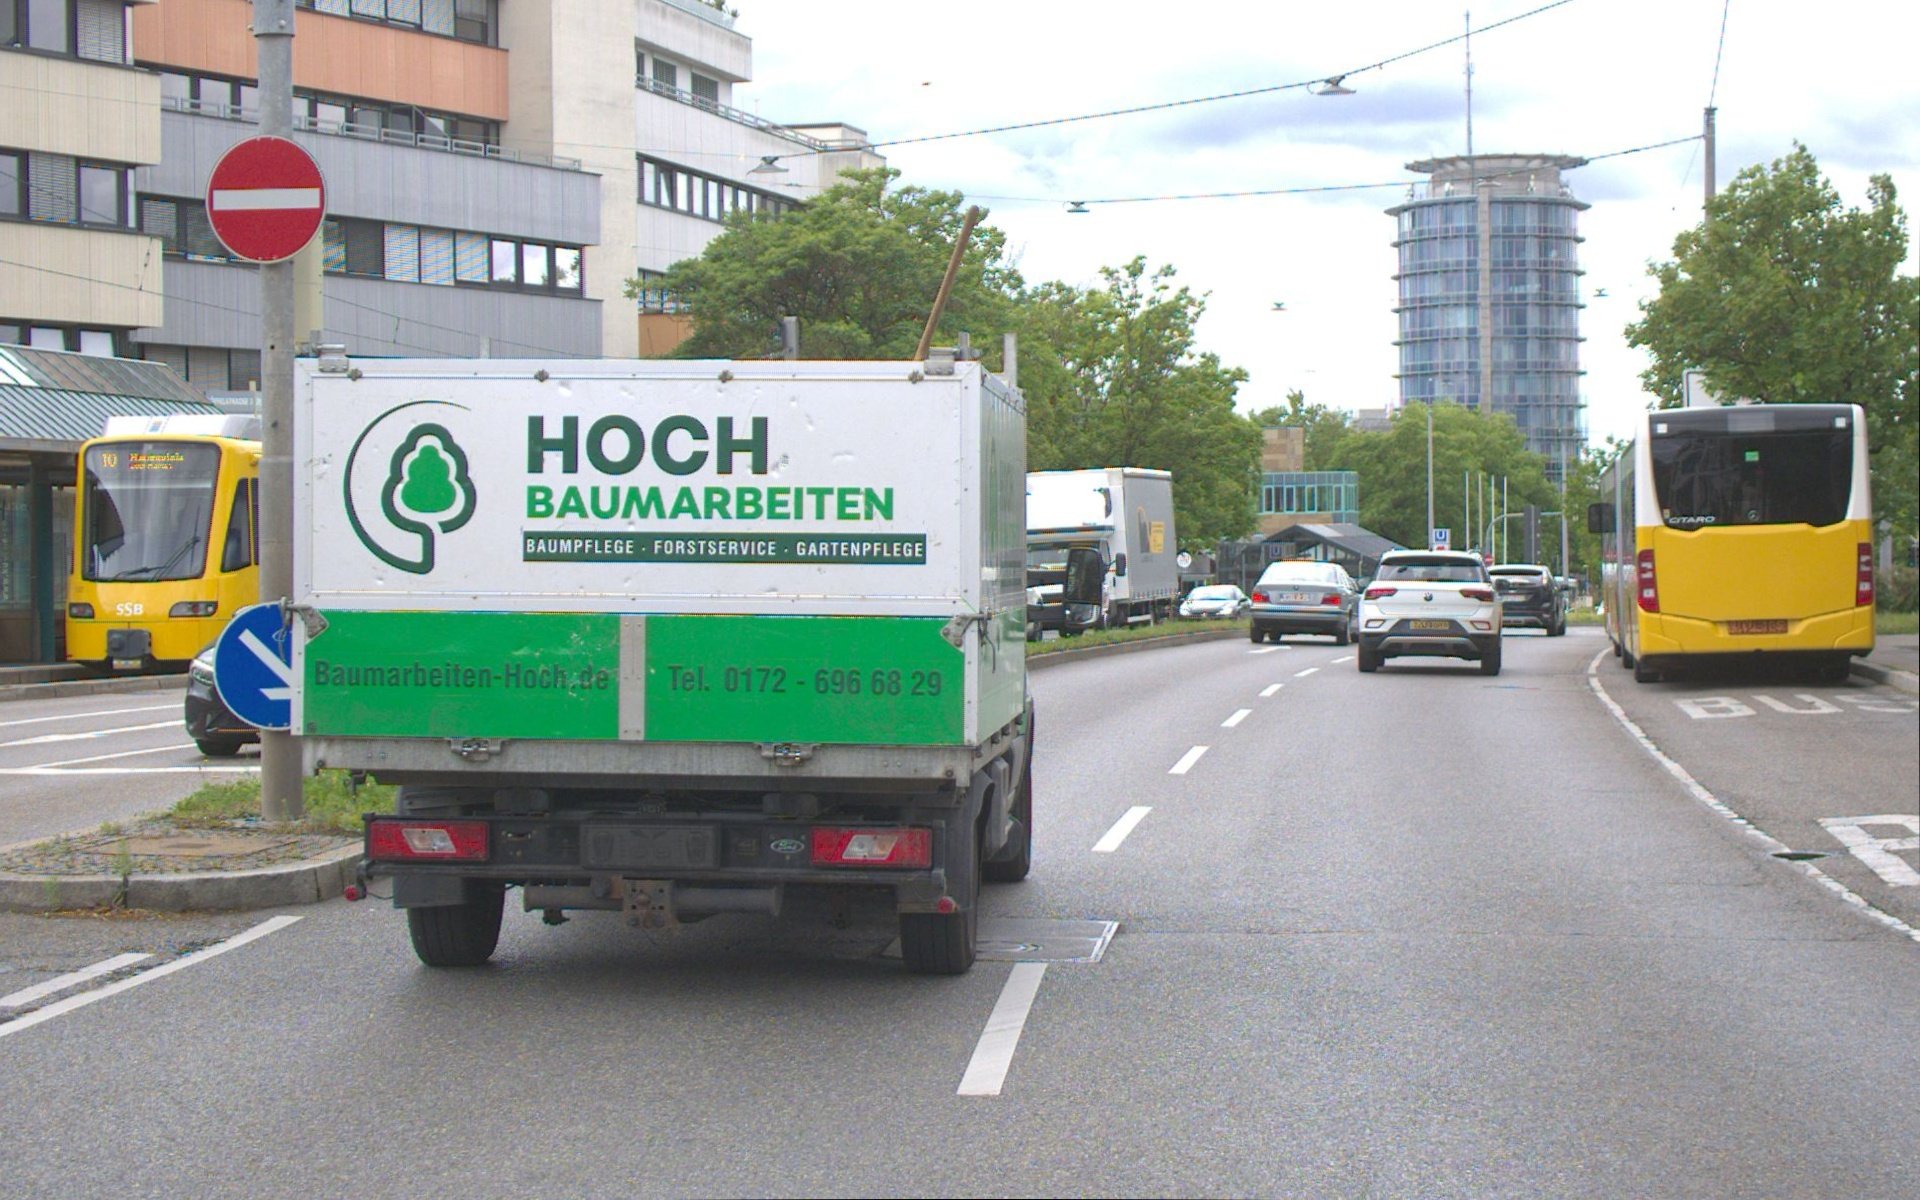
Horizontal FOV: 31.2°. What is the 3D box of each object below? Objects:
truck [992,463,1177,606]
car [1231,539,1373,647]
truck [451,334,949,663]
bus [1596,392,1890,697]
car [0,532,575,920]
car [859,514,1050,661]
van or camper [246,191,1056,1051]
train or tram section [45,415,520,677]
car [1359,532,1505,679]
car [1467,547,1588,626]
[{"bbox_3d":[2.917,-1.470,77.314,3.084,3.018,9.355,0,1,9],"label":"truck"},{"bbox_3d":[5.797,-0.147,57.967,1.701,1.510,3.734,1,5,17],"label":"car"},{"bbox_3d":[-3.293,-1.439,50.976,2.955,4.066,16.594,0,1,11],"label":"truck"},{"bbox_3d":[9.284,-0.689,41.722,2.955,3.179,9.924,-2,1,10],"label":"bus"},{"bbox_3d":[-3.297,0.442,15.871,1.966,1.493,4.774,0,1,7],"label":"car"},{"bbox_3d":[-0.015,-0.222,49.571,1.994,2.007,5.195,0,1,9],"label":"car"},{"bbox_3d":[-0.898,-0.049,13.745,2.343,2.652,5.965,1,2,3],"label":"van or camper"},{"bbox_3d":[-9.701,-0.795,51.431,2.560,3.399,13.077,0,1,9],"label":"train or tram section"},{"bbox_3d":[6.065,0.032,44.219,1.700,1.542,3.736,3,4,7],"label":"car"},{"bbox_3d":[11.916,-0.297,72.065,1.702,1.510,3.490,1,3,23],"label":"car"}]
